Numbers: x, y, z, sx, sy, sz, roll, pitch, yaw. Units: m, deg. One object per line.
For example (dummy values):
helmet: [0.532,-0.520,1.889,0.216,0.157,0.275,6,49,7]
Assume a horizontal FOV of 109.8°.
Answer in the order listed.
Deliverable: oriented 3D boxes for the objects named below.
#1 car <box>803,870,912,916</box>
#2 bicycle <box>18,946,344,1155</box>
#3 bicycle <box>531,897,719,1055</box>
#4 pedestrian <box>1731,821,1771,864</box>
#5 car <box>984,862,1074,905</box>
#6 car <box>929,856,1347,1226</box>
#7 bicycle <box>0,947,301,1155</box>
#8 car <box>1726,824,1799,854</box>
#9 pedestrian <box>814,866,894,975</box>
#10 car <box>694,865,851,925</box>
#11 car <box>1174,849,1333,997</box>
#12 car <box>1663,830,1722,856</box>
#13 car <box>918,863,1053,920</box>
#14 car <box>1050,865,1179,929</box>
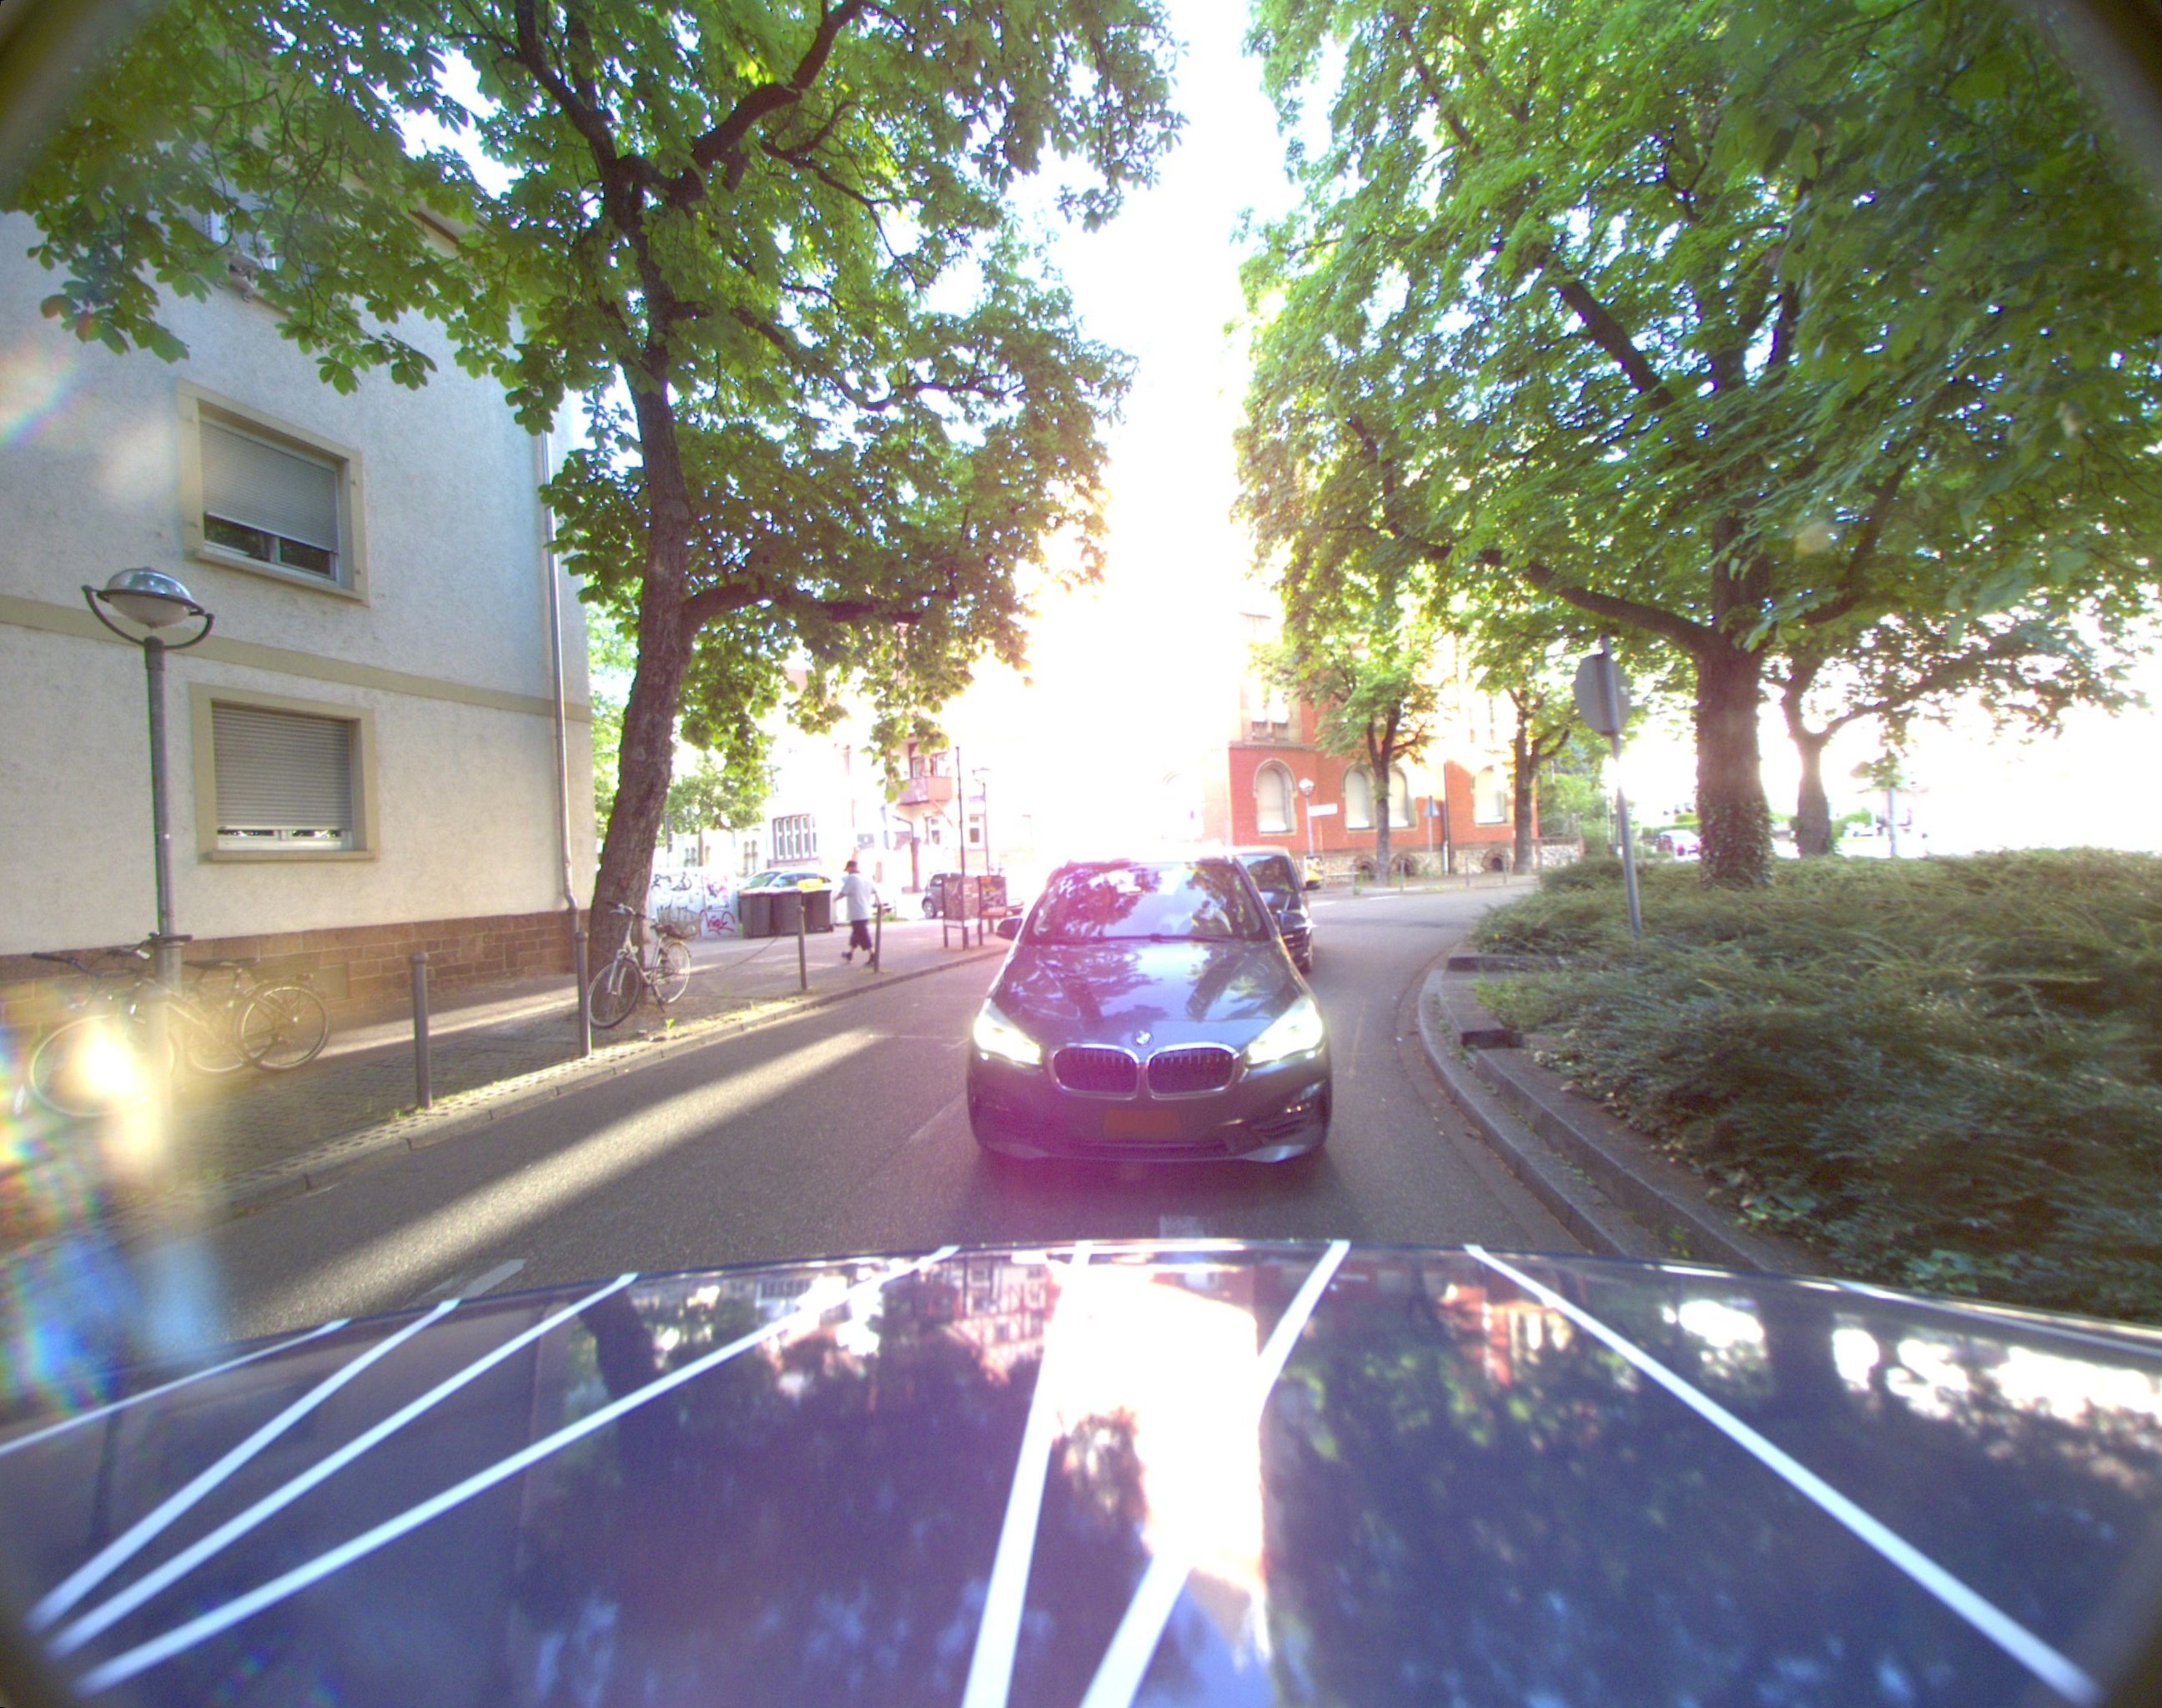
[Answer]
car: [-8.448,1.471,28.610,4.175,1.543,1.809,-3,-1,39]
bicycle: [-6.367,1.317,5.525,0.334,1.087,1.636,-3,0,1]
bicycle: [-4.602,1.162,7.865,0.767,1.297,1.903,-3,0,-1]
pedestrian: [26.698,-0.451,30.279,0.905,1.625,0.725,-5,0,-13]
car: [-2.028,1.115,29.045,3.207,1.530,1.495,-2,0,38]
car: [0.462,0.852,5.489,1.792,1.569,4.262,-2,0,6]
bicycle: [-6.738,1.330,5.535,0.334,1.087,1.636,-3,0,1]
car: [35.671,-0.775,39.862,1.733,1.409,4.006,-3,0,25]
pedestrian: [-3.432,0.987,11.542,0.944,1.583,0.643,-1,1,8]
car: [-8.805,1.139,21.950,1.672,1.417,3.811,-3,0,36]
car: [2.341,0.792,10.450,1.678,1.619,3.691,-3,0,12]
car: [38.330,-0.697,47.756,1.733,1.409,4.004,-3,2,21]
car: [-3.000,1.162,23.427,4.041,1.543,1.700,-3,0,39]
car: [0.749,1.029,18.958,1.475,1.381,3.394,-3,0,-32]
